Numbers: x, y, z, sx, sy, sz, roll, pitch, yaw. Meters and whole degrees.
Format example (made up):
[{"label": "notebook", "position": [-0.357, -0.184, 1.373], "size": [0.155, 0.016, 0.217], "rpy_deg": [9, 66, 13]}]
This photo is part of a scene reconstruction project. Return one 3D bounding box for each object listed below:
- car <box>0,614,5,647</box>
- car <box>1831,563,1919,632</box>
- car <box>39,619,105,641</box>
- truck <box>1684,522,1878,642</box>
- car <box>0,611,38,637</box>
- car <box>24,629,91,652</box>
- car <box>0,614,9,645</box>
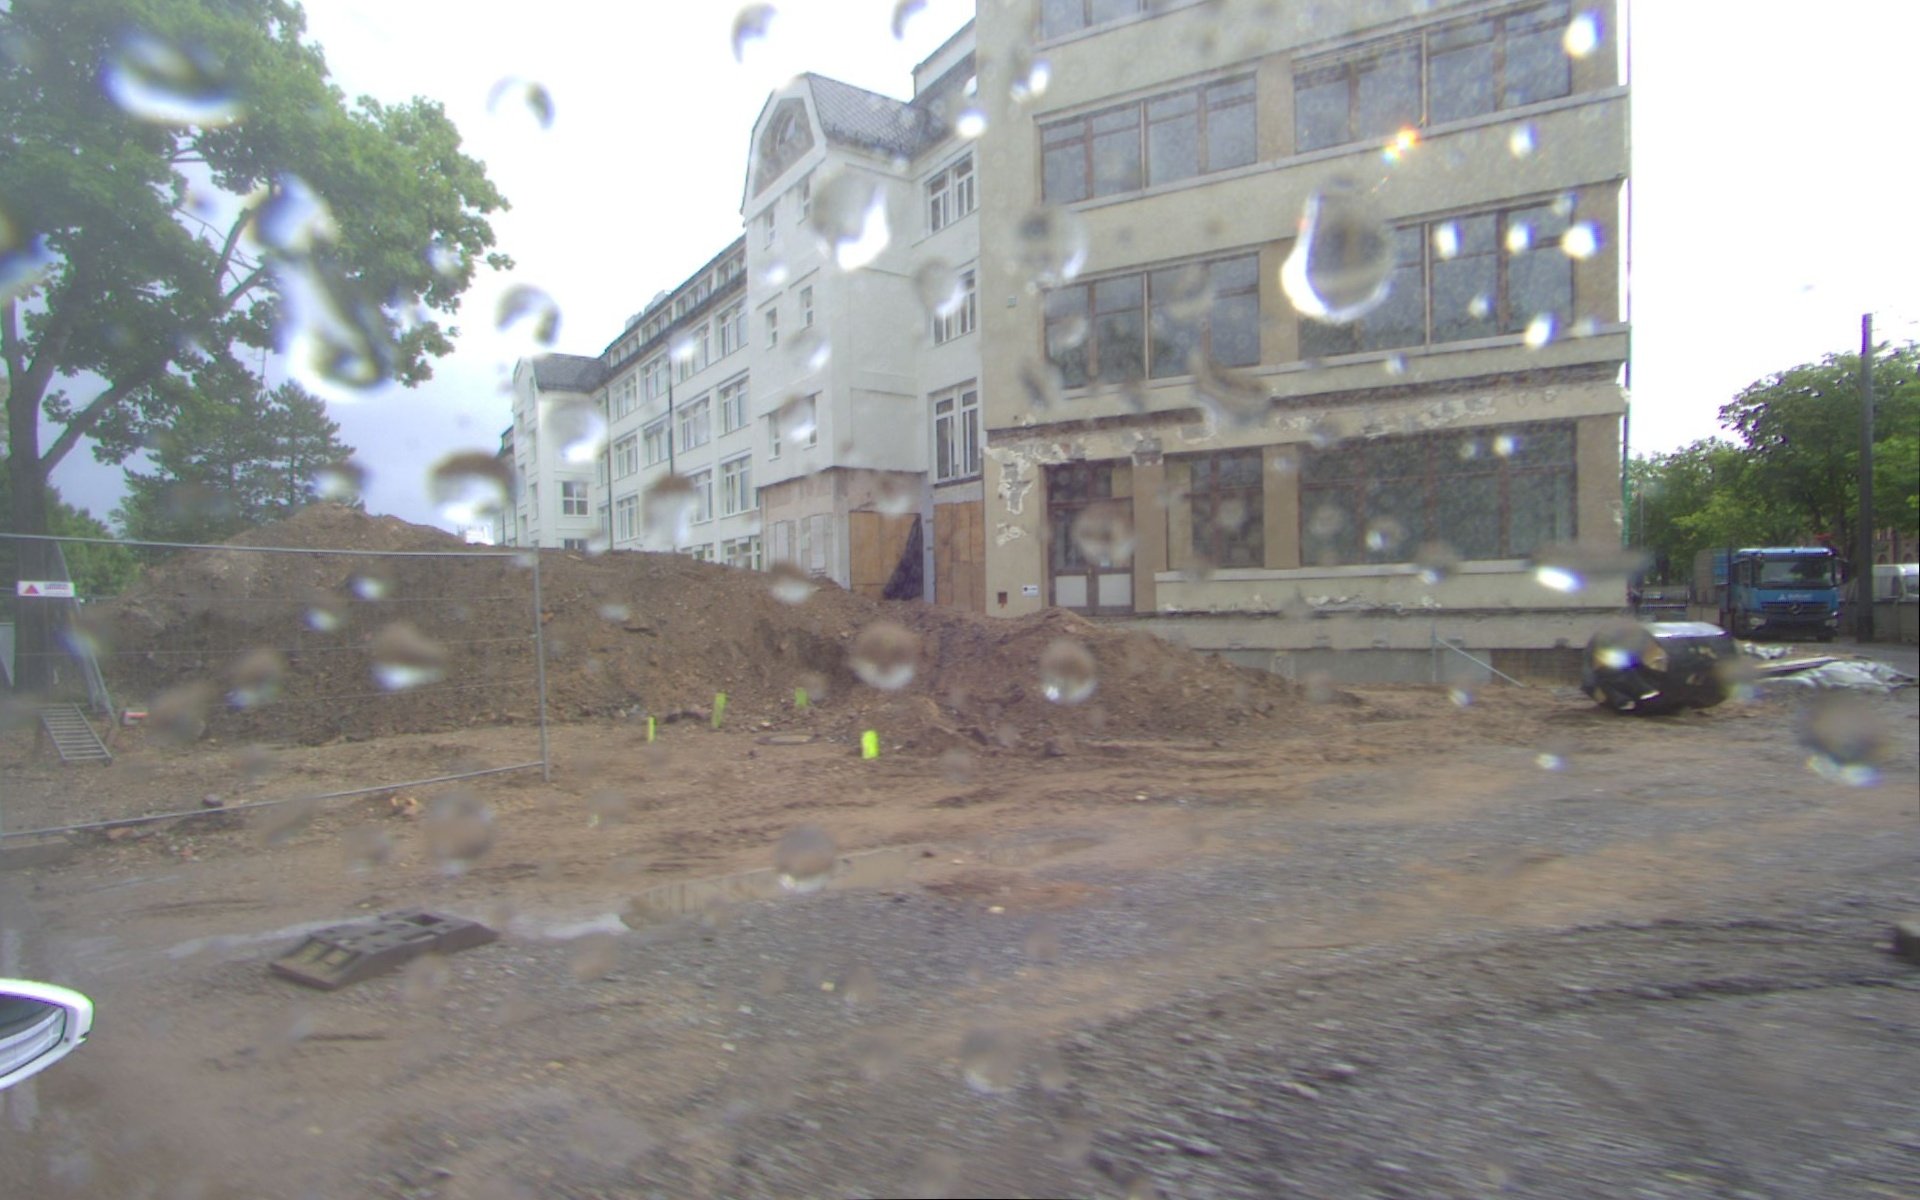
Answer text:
[{"label": "car", "position": [-50.480, 1.549, 50.315], "size": [3.562, 1.642, 1.852], "rpy_deg": [1, 0, -43]}, {"label": "car", "position": [36.378, -0.041, 38.611], "size": [2.554, 2.506, 6.134], "rpy_deg": [1, 0, 25]}, {"label": "car", "position": [-73.236, 2.505, 82.628], "size": [3.955, 1.734, 1.897], "rpy_deg": [1, 0, -40]}, {"label": "truck", "position": [28.052, -0.475, 34.809], "size": [3.192, 3.573, 9.872], "rpy_deg": [1, 0, 28]}, {"label": "car", "position": [-59.988, 1.474, 62.251], "size": [3.826, 1.594, 1.941], "rpy_deg": [1, 0, -40]}, {"label": "car", "position": [-69.549, 3.086, 77.231], "size": [3.722, 1.661, 1.658], "rpy_deg": [1, 0, -40]}, {"label": "car", "position": [-52.094, 1.520, 51.952], "size": [3.826, 1.594, 1.941], "rpy_deg": [1, 0, -40]}]
